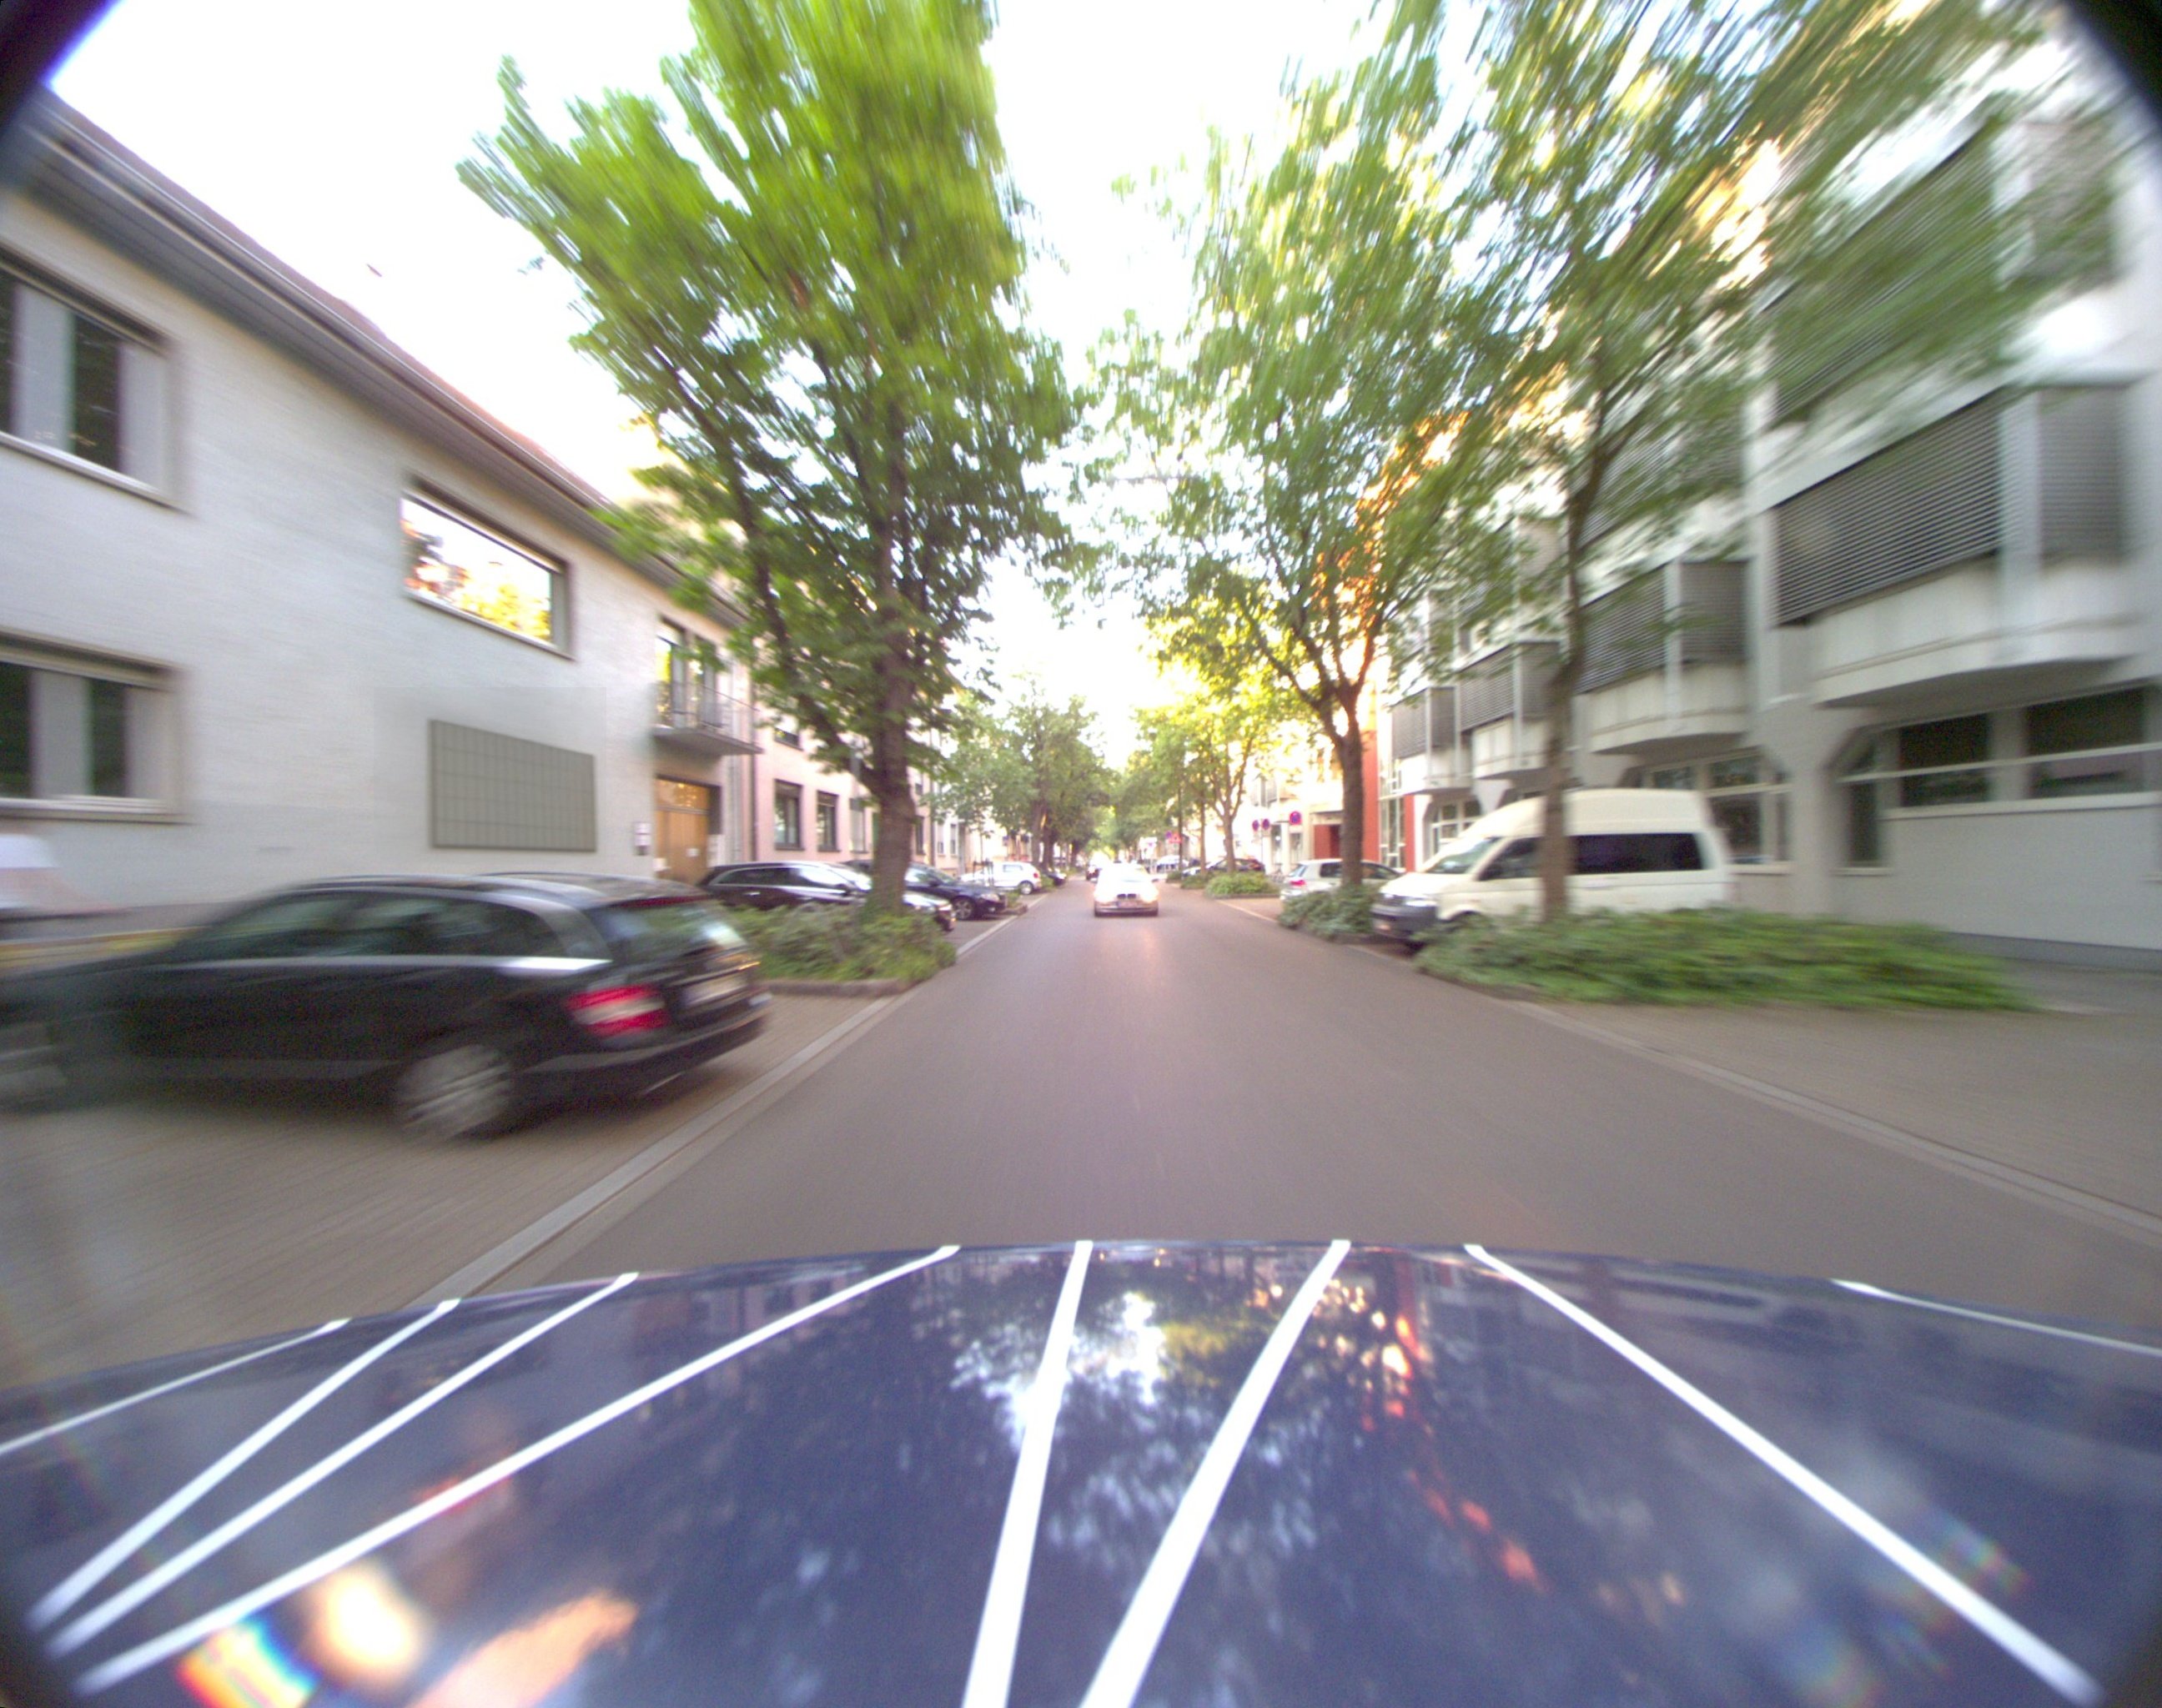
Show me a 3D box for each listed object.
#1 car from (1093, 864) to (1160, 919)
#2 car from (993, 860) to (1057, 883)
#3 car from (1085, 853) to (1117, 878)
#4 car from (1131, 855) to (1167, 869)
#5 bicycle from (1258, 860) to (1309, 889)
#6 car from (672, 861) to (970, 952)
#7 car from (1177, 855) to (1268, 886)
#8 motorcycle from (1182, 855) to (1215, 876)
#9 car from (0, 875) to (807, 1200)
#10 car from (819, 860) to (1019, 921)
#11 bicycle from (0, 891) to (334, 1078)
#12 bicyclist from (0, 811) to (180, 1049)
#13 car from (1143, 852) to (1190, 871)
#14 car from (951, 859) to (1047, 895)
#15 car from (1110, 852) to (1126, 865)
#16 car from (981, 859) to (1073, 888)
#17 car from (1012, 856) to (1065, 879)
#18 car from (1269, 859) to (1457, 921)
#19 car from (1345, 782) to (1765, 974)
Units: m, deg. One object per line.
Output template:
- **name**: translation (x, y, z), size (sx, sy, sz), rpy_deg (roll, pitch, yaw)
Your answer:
- **car**: translation (1.245, 0.997, 21.916), size (1.736, 1.363, 4.333), rpy_deg (-1, 0, 2)
- **car**: translation (-3.437, 1.050, 46.977), size (3.846, 1.403, 1.712), rpy_deg (0, 0, -3)
- **car**: translation (1.477, 0.805, 54.348), size (1.892, 1.635, 4.002), rpy_deg (-2, 0, 6)
- **car**: translation (8.907, 1.095, 99.736), size (4.528, 1.705, 2.000), rpy_deg (-1, 0, 2)
- **bicycle**: translation (8.492, 0.855, 31.885), size (1.964, 1.169, 0.656), rpy_deg (-1, 0, -5)
- **car**: translation (-4.574, 0.889, 13.875), size (4.688, 1.380, 2.001), rpy_deg (2, 0, 3)
- **car**: translation (7.503, 0.855, 40.671), size (4.520, 1.517, 1.872), rpy_deg (-1, 0, 1)
- **motorcycle**: translation (8.747, 0.831, 56.388), size (2.234, 1.461, 0.900), rpy_deg (-1, 0, -21)
- **car**: translation (-4.434, 0.951, 5.018), size (4.468, 1.419, 2.012), rpy_deg (2, 0, 6)
- **car**: translation (-4.225, 0.937, 20.335), size (4.850, 1.439, 2.042), rpy_deg (1, 0, 4)
- **bicycle**: translation (-7.730, 0.951, 5.935), size (0.622, 1.157, 3.400), rpy_deg (-1, 0, -4)
- **bicyclist**: translation (-7.790, 0.516, 5.571), size (0.973, 1.595, 1.135), rpy_deg (-1, 0, -4)
- **car**: translation (8.511, 0.749, 75.661), size (4.601, 1.725, 2.142), rpy_deg (-1, 0, 6)
- **car**: translation (-3.618, 1.009, 34.152), size (4.092, 1.482, 1.798), rpy_deg (-1, 0, -1)
- **car**: translation (5.014, 0.625, 103.585), size (1.787, 1.678, 4.385), rpy_deg (-1, 0, -1)
- **car**: translation (-2.917, 1.074, 42.113), size (4.886, 1.488, 1.988), rpy_deg (-1, 0, 2)
- **car**: translation (-3.085, 0.965, 55.657), size (3.731, 1.544, 1.754), rpy_deg (-1, 0, -1)
- **car**: translation (7.227, 0.910, 19.791), size (4.178, 1.460, 1.953), rpy_deg (-1, 0, 2)
- **car**: translation (6.897, 0.347, 11.555), size (5.015, 2.558, 2.121), rpy_deg (-1, 0, 1)
